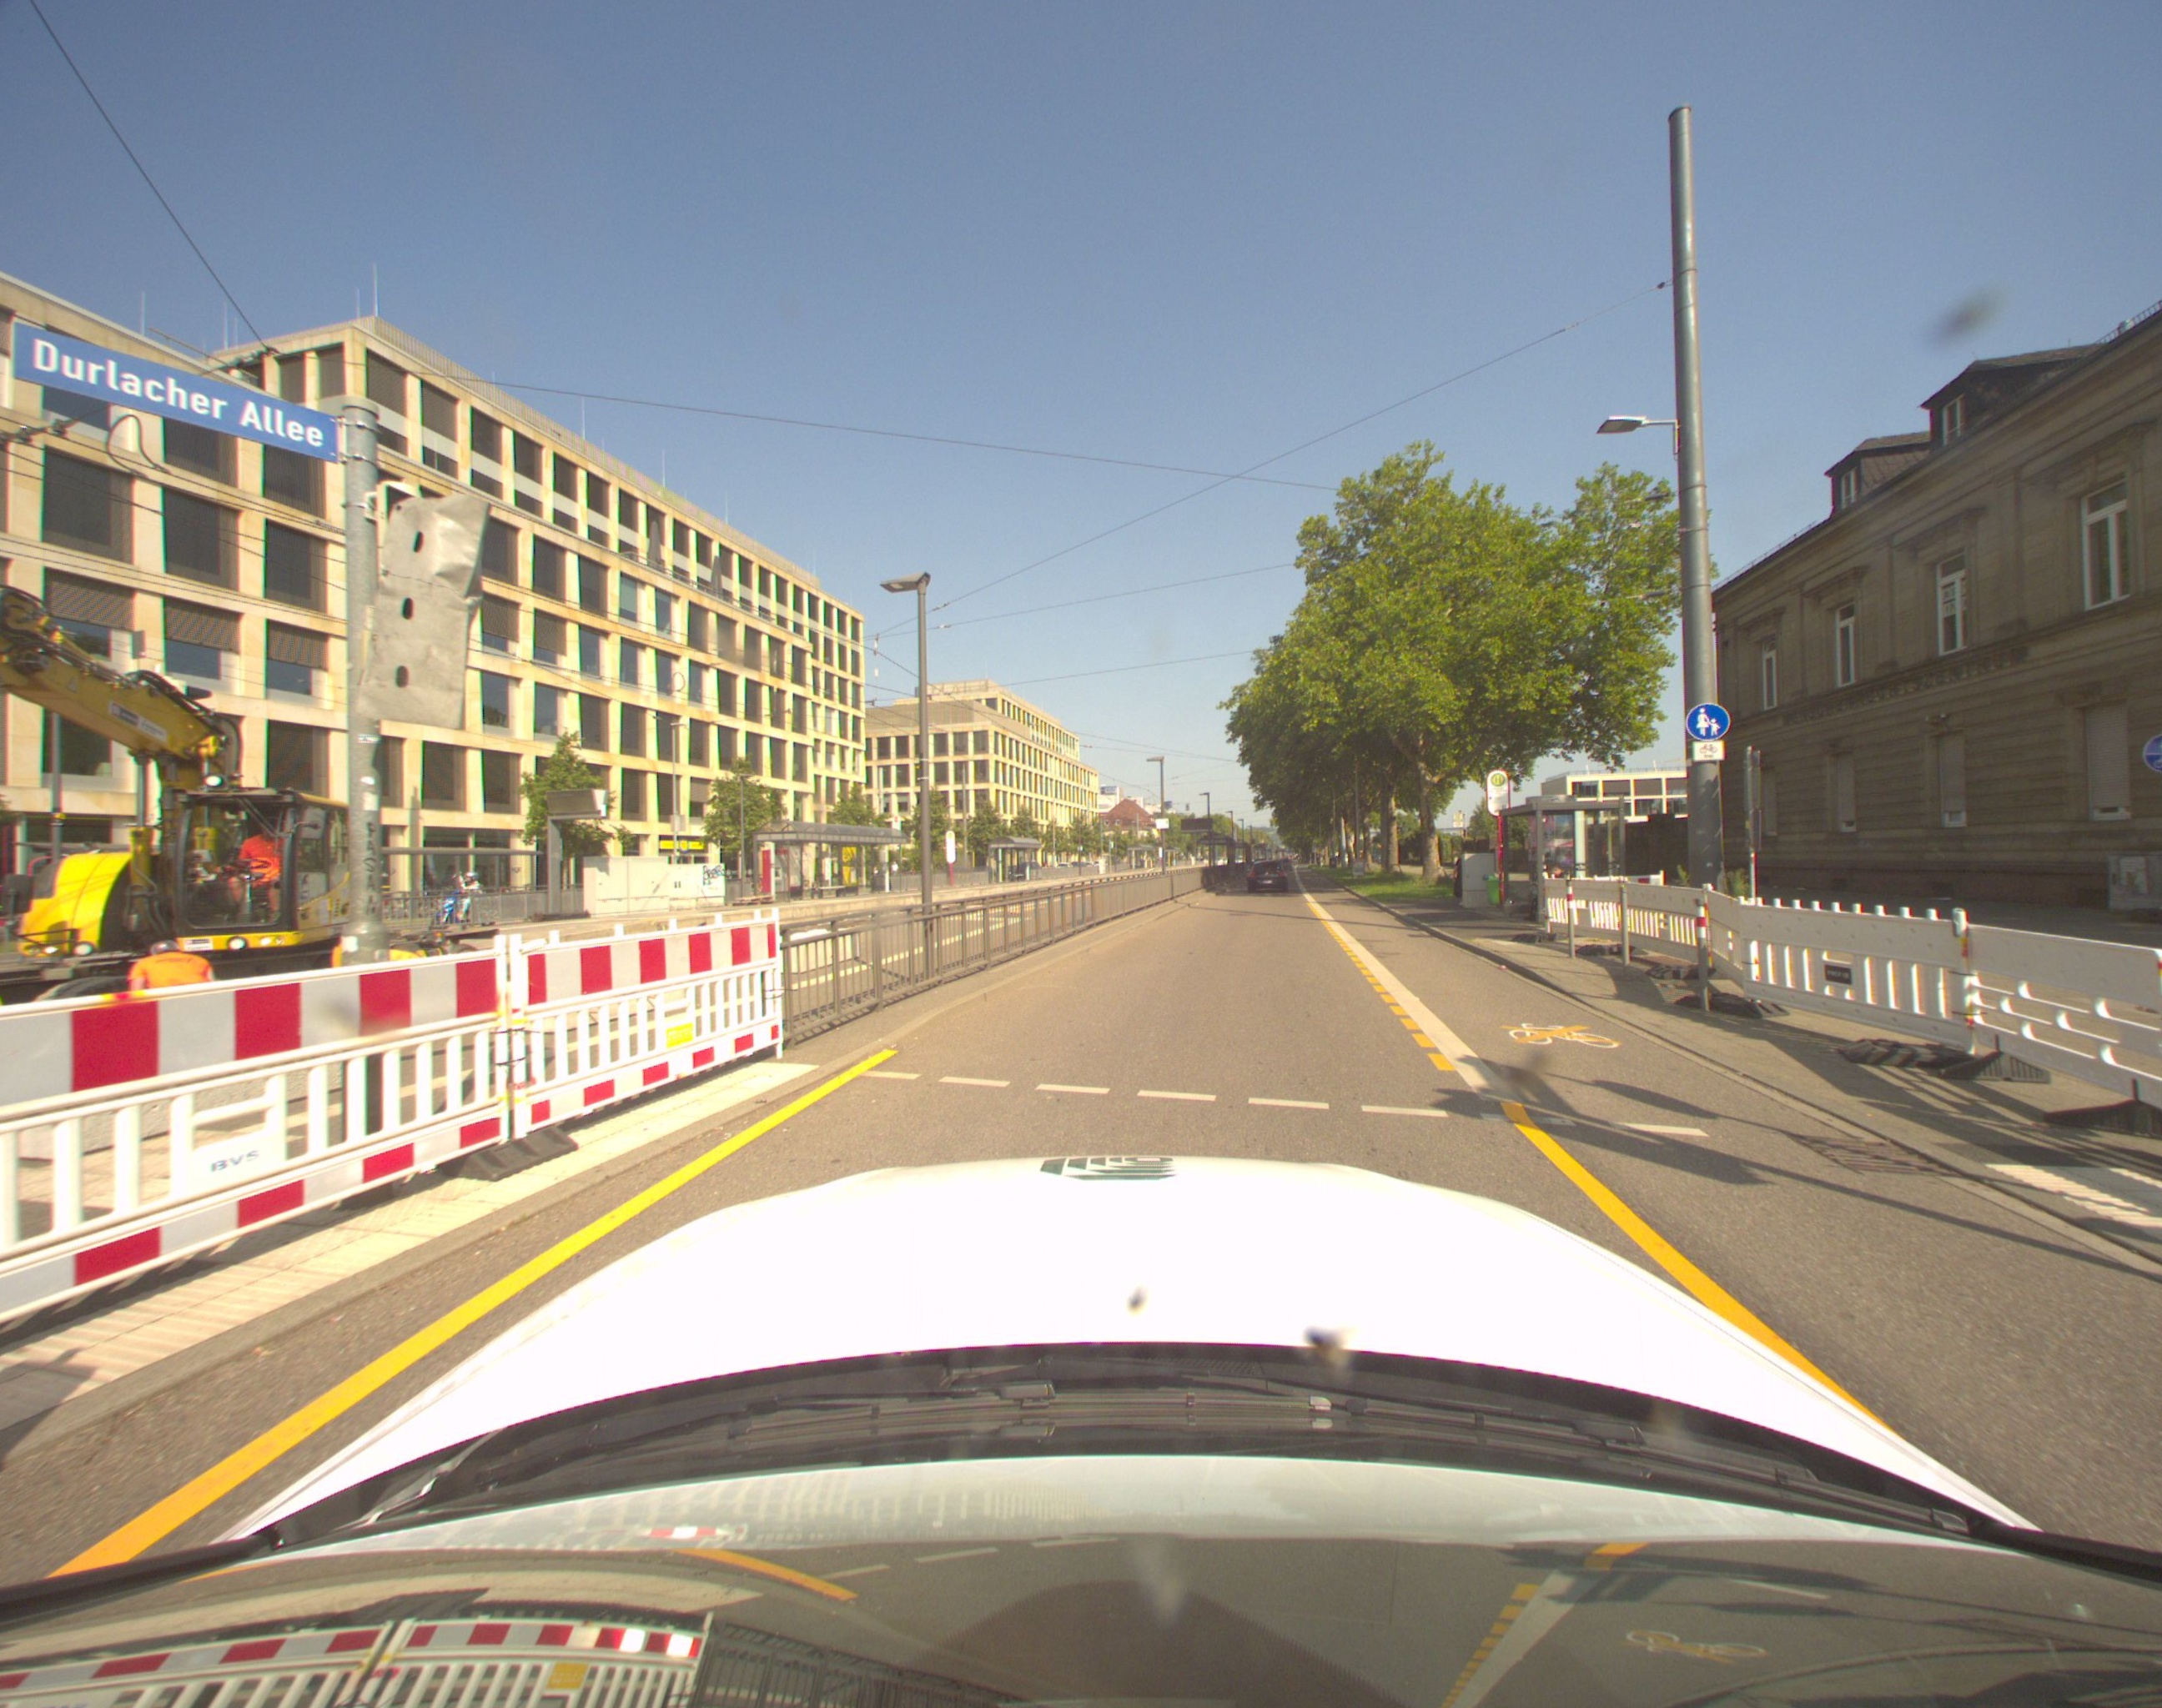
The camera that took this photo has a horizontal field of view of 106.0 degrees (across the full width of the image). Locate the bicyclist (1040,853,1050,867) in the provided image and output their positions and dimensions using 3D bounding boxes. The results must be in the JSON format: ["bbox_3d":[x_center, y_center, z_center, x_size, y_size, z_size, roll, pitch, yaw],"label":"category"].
[{"bbox_3d":[-3.546,0.600,80.212,0.624,1.402,0.787,-5,-3,14],"label":"bicyclist"}]

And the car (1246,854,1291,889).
[{"bbox_3d":[8.673,0.793,37.490,1.894,1.537,4.015,-1,-1,14],"label":"car"}]

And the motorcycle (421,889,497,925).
[{"bbox_3d":[-16.669,1.408,21.865,0.426,0.878,1.642,-5,-3,19],"label":"motorcycle"}]

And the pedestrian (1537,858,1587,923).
[{"bbox_3d":[9.813,0.730,16.645,0.604,1.277,0.761,-3,-1,12],"label":"pedestrian"}]

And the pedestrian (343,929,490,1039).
[{"bbox_3d":[-6.668,1.279,8.205,0.695,0.955,0.885,-2,-1,15],"label":"pedestrian"}]

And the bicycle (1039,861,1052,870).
[{"bbox_3d":[-3.500,1.119,80.231,0.624,0.822,1.904,-5,-3,14],"label":"bicycle"}]

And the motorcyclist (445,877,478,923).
[{"bbox_3d":[-16.646,1.223,21.873,0.426,1.179,0.518,-5,-3,18],"label":"motorcyclist"}]

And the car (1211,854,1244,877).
[{"bbox_3d":[10.738,0.830,59.353,1.979,1.559,4.016,-2,0,15],"label":"car"}]

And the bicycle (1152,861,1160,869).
[{"bbox_3d":[10.462,1.508,113.188,0.466,1.147,1.493,-2,-1,29],"label":"bicycle"}]

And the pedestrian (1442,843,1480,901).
[{"bbox_3d":[10.907,0.516,23.409,0.874,1.626,0.827,-2,-1,20],"label":"pedestrian"}]

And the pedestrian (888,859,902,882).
[{"bbox_3d":[-16.473,1.456,72.059,0.788,1.917,0.840,-4,-3,8],"label":"pedestrian"}]

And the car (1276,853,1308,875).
[{"bbox_3d":[15.010,0.675,57.827,1.978,1.441,4.018,-2,0,17],"label":"car"}]

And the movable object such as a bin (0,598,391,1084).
[{"bbox_3d":[-11.219,-0.094,9.173,2.964,4.554,4.230,-2,0,16],"label":"movable object such as a bin"}]

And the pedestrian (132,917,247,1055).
[{"bbox_3d":[-8.380,1.205,7.683,0.591,1.155,0.695,-1,-1,-36],"label":"pedestrian"}]

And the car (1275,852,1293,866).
[{"bbox_3d":[23.301,0.519,93.328,1.893,1.537,4.015,-2,0,14],"label":"car"}]

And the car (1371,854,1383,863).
[{"bbox_3d":[54.041,0.816,148.716,1.596,1.575,3.811,-3,-1,15],"label":"car"}]

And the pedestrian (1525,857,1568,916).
[{"bbox_3d":[9.971,0.698,17.456,0.604,1.218,0.576,-3,-1,12],"label":"pedestrian"}]
